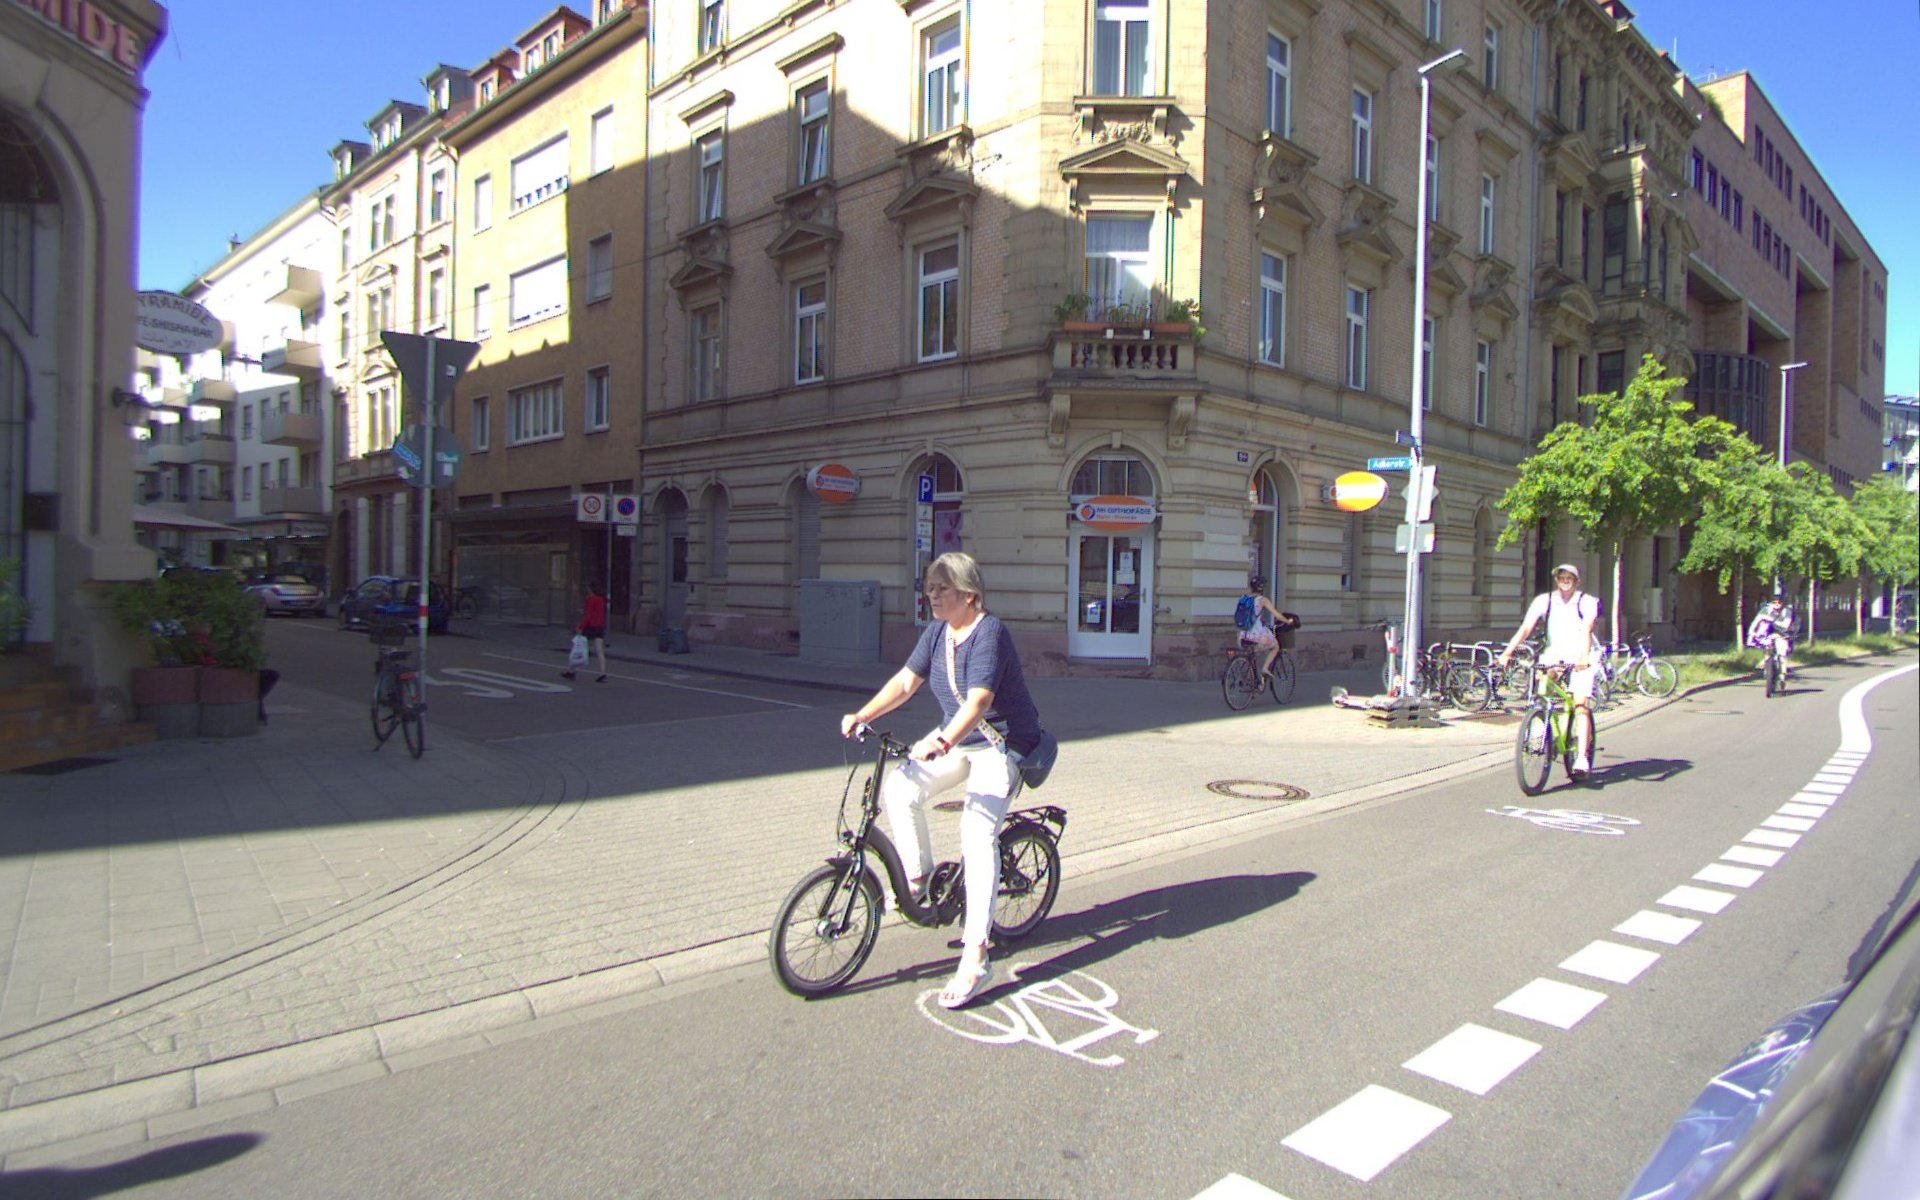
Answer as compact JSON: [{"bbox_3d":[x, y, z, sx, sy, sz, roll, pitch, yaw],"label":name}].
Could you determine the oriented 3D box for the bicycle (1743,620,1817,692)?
[{"bbox_3d":[14.864,0.984,18.326,1.918,1.209,0.724,0,-1,-41],"label":"bicycle"}]

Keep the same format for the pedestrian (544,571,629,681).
[{"bbox_3d":[-5.638,0.373,15.311,0.824,1.594,0.901,0,0,22],"label":"pedestrian"}]

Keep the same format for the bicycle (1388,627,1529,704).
[{"bbox_3d":[6.985,0.892,14.254,0.488,0.937,1.716,0,1,-40],"label":"bicycle"}]

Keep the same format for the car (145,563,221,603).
[{"bbox_3d":[-30.014,-0.663,39.062,3.425,1.424,1.605,3,0,41],"label":"car"}]

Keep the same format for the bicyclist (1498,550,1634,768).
[{"bbox_3d":[5.013,0.455,8.365,0.960,1.678,0.699,1,-1,-41],"label":"bicyclist"}]

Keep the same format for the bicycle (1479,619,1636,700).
[{"bbox_3d":[9.451,0.900,16.045,1.013,1.043,1.901,0,4,-43],"label":"bicycle"}]

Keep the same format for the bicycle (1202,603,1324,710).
[{"bbox_3d":[4.016,0.691,13.300,2.062,1.268,0.578,-1,2,-43],"label":"bicycle"}]

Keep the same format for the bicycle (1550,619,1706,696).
[{"bbox_3d":[11.503,0.957,17.495,0.833,1.054,2.062,0,4,-41],"label":"bicycle"}]

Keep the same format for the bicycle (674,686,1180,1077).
[{"bbox_3d":[-0.053,0.931,4.008,1.918,1.019,0.829,0,0,-41],"label":"bicycle"}]

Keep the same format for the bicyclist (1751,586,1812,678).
[{"bbox_3d":[14.922,0.562,18.382,0.879,1.625,0.724,1,-1,-41],"label":"bicyclist"}]

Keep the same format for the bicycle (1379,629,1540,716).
[{"bbox_3d":[6.681,0.940,13.650,0.580,0.922,1.910,0,3,-32],"label":"bicycle"}]

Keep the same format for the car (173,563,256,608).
[{"bbox_3d":[-26.257,-0.522,35.620,3.425,1.424,1.605,3,0,41],"label":"car"}]

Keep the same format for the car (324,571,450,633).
[{"bbox_3d":[-14.665,0.016,25.857,3.686,1.428,1.594,2,1,39],"label":"car"}]

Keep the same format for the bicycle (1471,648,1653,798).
[{"bbox_3d":[4.998,0.949,8.354,1.918,1.019,0.724,0,0,-41],"label":"bicycle"}]

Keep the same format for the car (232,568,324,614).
[{"bbox_3d":[-21.127,-0.294,31.321,3.376,1.338,1.604,1,1,42],"label":"car"}]

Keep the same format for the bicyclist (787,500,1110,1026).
[{"bbox_3d":[-0.045,0.542,4.016,0.971,1.749,0.853,1,-1,-41],"label":"bicyclist"}]

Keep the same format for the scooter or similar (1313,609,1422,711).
[{"bbox_3d":[5.241,0.743,13.049,0.479,1.213,1.197,1,1,-45],"label":"scooter or similar"}]

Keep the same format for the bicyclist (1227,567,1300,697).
[{"bbox_3d":[3.970,0.393,13.239,0.781,1.637,0.578,0,1,-43],"label":"bicyclist"}]

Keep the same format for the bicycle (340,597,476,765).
[{"bbox_3d":[-4.977,0.655,9.038,0.801,1.247,2.221,4,-1,-34],"label":"bicycle"}]

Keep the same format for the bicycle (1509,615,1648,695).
[{"bbox_3d":[10.265,0.874,16.825,1.115,1.074,1.677,0,5,-42],"label":"bicycle"}]

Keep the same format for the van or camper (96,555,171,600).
[{"bbox_3d":[-37.889,-1.057,46.375,4.527,1.867,1.857,3,0,41],"label":"van or camper"}]

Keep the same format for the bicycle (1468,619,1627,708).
[{"bbox_3d":[8.559,0.893,14.799,0.598,1.061,1.873,0,4,-45],"label":"bicycle"}]
